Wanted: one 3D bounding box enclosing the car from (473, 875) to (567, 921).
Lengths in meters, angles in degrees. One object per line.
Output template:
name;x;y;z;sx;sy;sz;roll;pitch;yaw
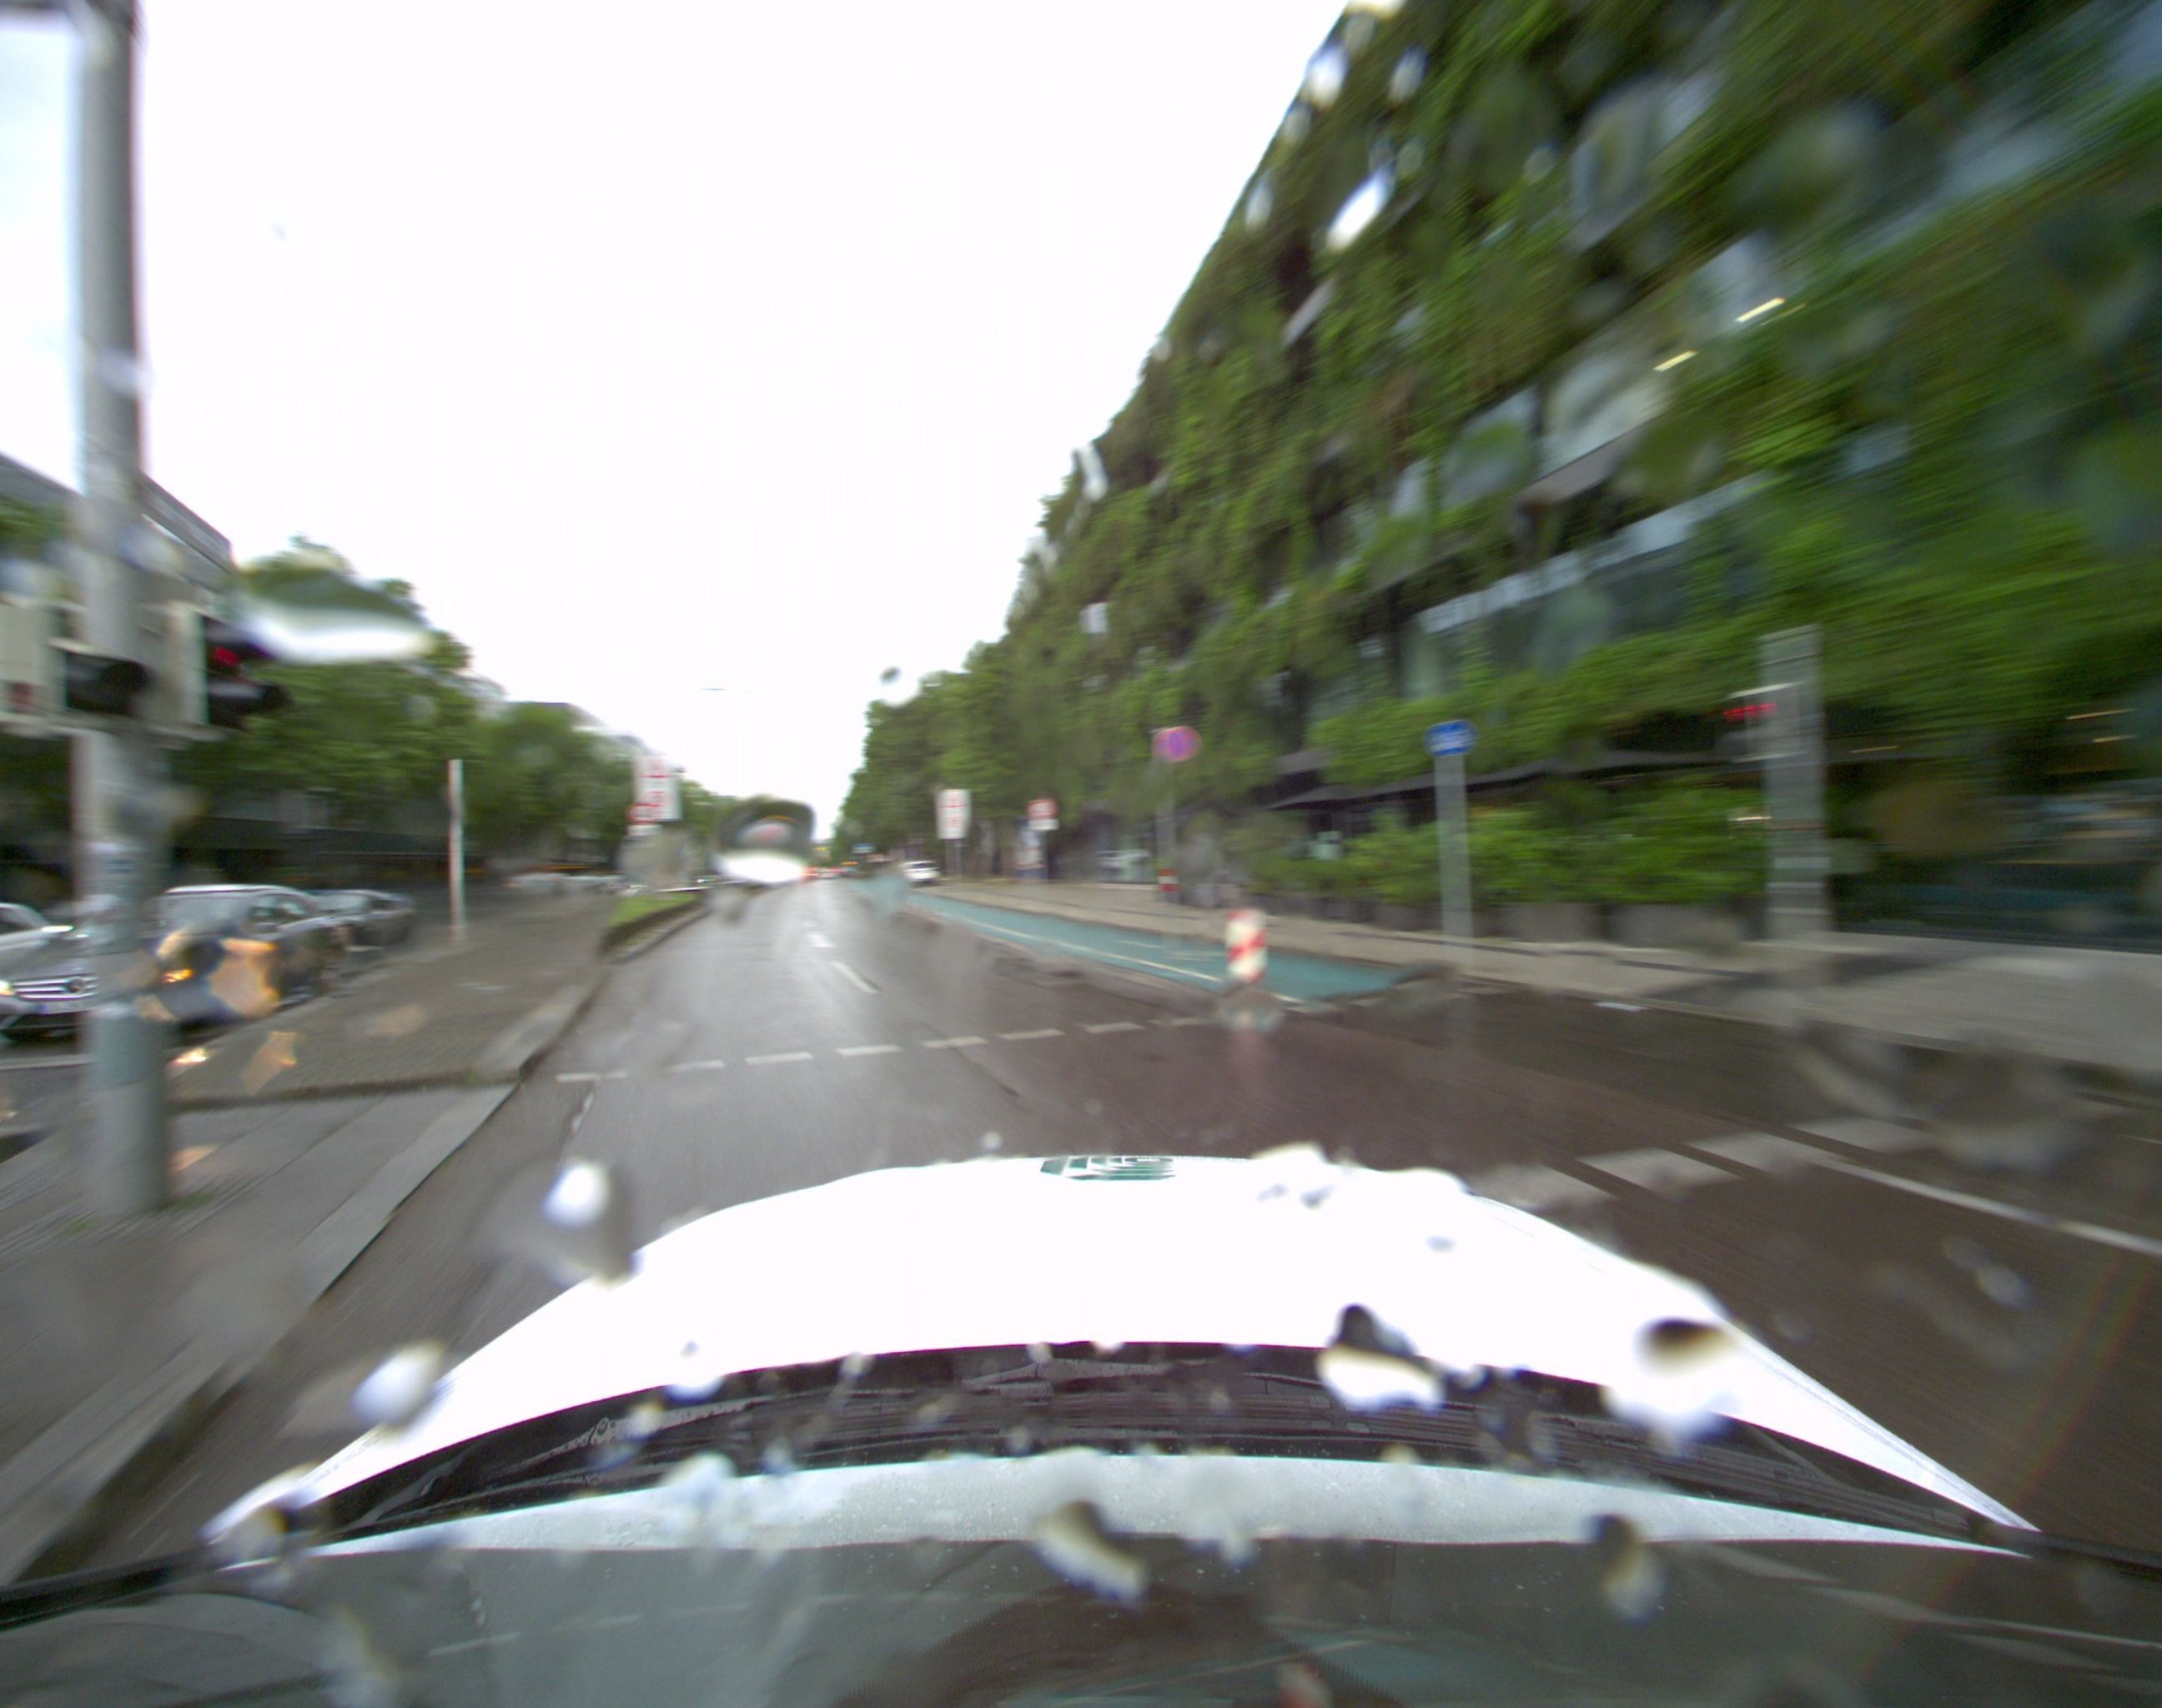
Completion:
car;-24.747;1.867;36.172;1.839;1.766;5.081;-2;0;-16

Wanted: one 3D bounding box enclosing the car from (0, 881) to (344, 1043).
car;-11.171;1.149;10.103;1.853;1.482;4.129;-2;0;-25

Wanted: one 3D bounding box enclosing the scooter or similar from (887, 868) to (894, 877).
scooter or similar;-28.473;2.794;121.721;0.377;1.228;1.084;-2;-1;18

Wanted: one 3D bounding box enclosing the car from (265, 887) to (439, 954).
car;-19.936;1.737;22.584;1.849;1.451;4.883;-2;-1;-20

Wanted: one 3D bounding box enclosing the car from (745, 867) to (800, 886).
car;-29.808;2.125;78.845;4.885;1.655;1.988;-2;0;-18

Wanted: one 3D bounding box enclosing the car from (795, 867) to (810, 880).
car;-33.409;2.326;97.565;1.626;1.471;3.973;-1;-1;-20

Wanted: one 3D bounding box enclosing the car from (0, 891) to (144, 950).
car;-28.076;1.757;22.010;2.002;1.387;3.948;-1;-1;-22

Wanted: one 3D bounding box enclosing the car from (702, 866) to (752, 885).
car;-33.782;2.040;77.721;4.186;1.789;2.011;-1;-1;22

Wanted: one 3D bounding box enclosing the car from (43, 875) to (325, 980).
car;-17.795;1.333;16.558;1.884;1.685;4.763;-2;0;-22

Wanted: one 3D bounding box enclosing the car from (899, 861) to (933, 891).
car;-11.455;1.465;56.239;1.847;1.838;5.065;-3;0;-16

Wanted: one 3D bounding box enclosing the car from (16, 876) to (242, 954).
car;-22.120;1.339;19.182;1.759;1.565;3.971;-1;-1;-21

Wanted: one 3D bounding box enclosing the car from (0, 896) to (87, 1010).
car;-15.335;1.380;10.570;1.725;1.476;3.403;-2;0;-25

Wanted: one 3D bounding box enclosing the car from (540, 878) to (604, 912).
car;-27.250;2.171;43.782;1.739;1.573;4.802;-2;0;-18

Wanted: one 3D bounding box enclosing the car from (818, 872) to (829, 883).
car;-41.595;3.796;131.447;1.625;1.666;3.975;-2;0;-18

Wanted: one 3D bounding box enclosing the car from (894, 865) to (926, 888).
car;-13.111;1.664;62.176;1.849;1.632;4.756;-2;0;-18
